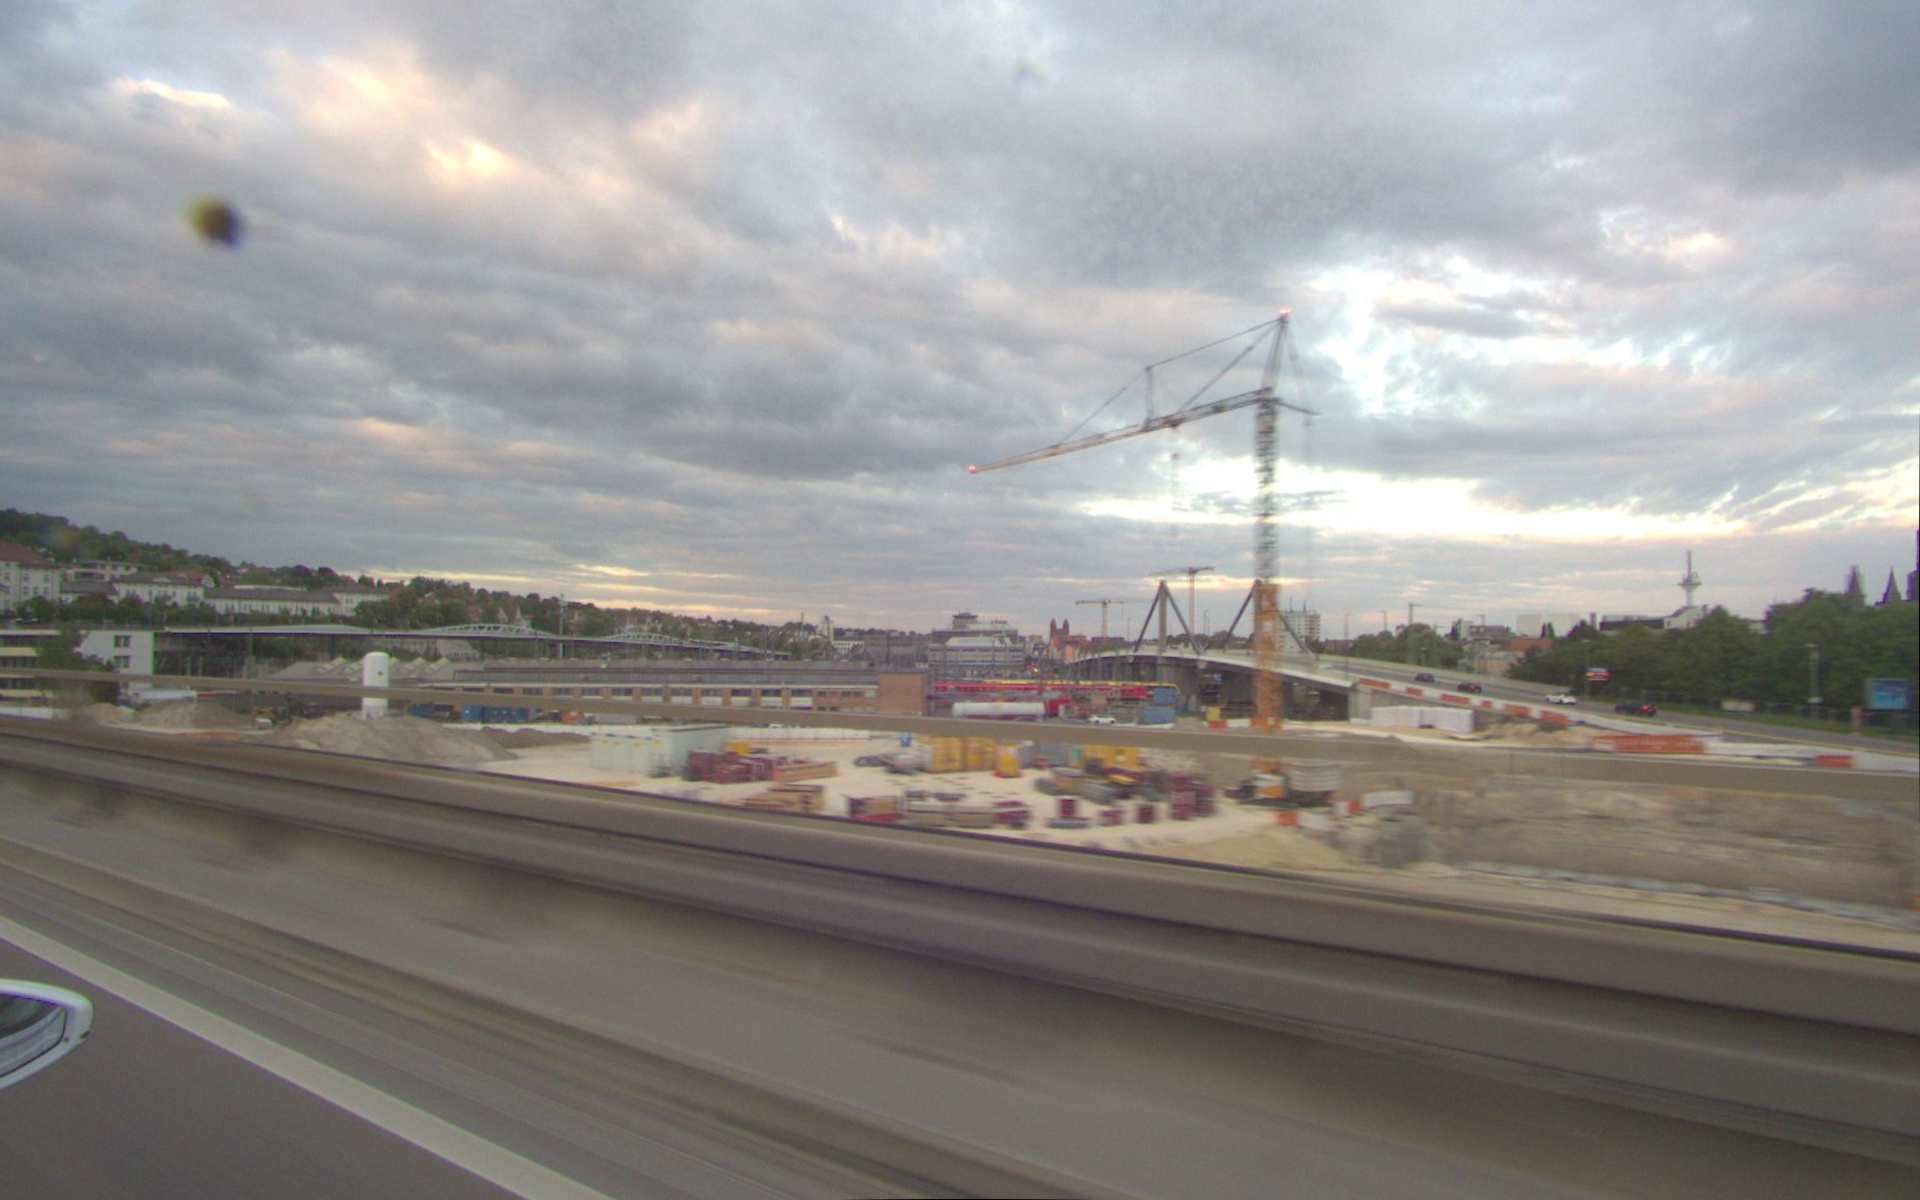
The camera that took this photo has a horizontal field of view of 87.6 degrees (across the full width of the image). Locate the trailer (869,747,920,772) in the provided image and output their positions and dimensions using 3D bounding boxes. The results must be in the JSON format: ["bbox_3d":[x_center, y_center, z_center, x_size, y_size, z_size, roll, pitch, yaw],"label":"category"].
[{"bbox_3d":[-4.588,11.060,69.726,1.761,1.256,4.229,4,-4,-32],"label":"trailer"}]

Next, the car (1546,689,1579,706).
[{"bbox_3d":[75.492,12.154,125.567,1.565,1.760,3.706,5,-2,-5],"label":"car"}]

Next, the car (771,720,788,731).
[{"bbox_3d":[-26.095,18.109,144.768,1.835,1.435,4.009,4,-7,-2],"label":"car"}]

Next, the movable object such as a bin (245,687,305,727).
[{"bbox_3d":[-81.296,12.780,118.934,2.733,4.356,4.965,1,-7,15],"label":"movable object such as a bin"}]

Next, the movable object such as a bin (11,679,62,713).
[{"bbox_3d":[-128.801,13.345,139.675,4.867,4.356,2.788,1,-7,17],"label":"movable object such as a bin"}]

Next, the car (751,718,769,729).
[{"bbox_3d":[-28.882,17.908,144.899,1.835,1.435,4.009,4,-7,-2],"label":"car"}]

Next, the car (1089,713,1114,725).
[{"bbox_3d":[22.487,18.860,159.055,3.619,1.593,1.440,5,-7,-11],"label":"car"}]

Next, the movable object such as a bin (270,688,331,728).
[{"bbox_3d":[-77.561,12.745,117.876,2.733,4.356,4.965,1,-7,15],"label":"movable object such as a bin"}]

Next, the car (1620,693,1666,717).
[{"bbox_3d":[75.863,11.633,111.304,1.962,2.039,3.999,5,0,-5],"label":"car"}]

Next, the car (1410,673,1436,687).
[{"bbox_3d":[72.217,12.477,156.273,1.743,1.760,4.001,5,-2,-5],"label":"car"}]

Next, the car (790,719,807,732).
[{"bbox_3d":[-23.308,18.115,144.939,1.835,1.733,4.009,4,-7,-2],"label":"car"}]

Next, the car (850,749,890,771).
[{"bbox_3d":[-7.138,12.639,79.280,1.510,1.457,3.779,8,-8,-31],"label":"car"}]
